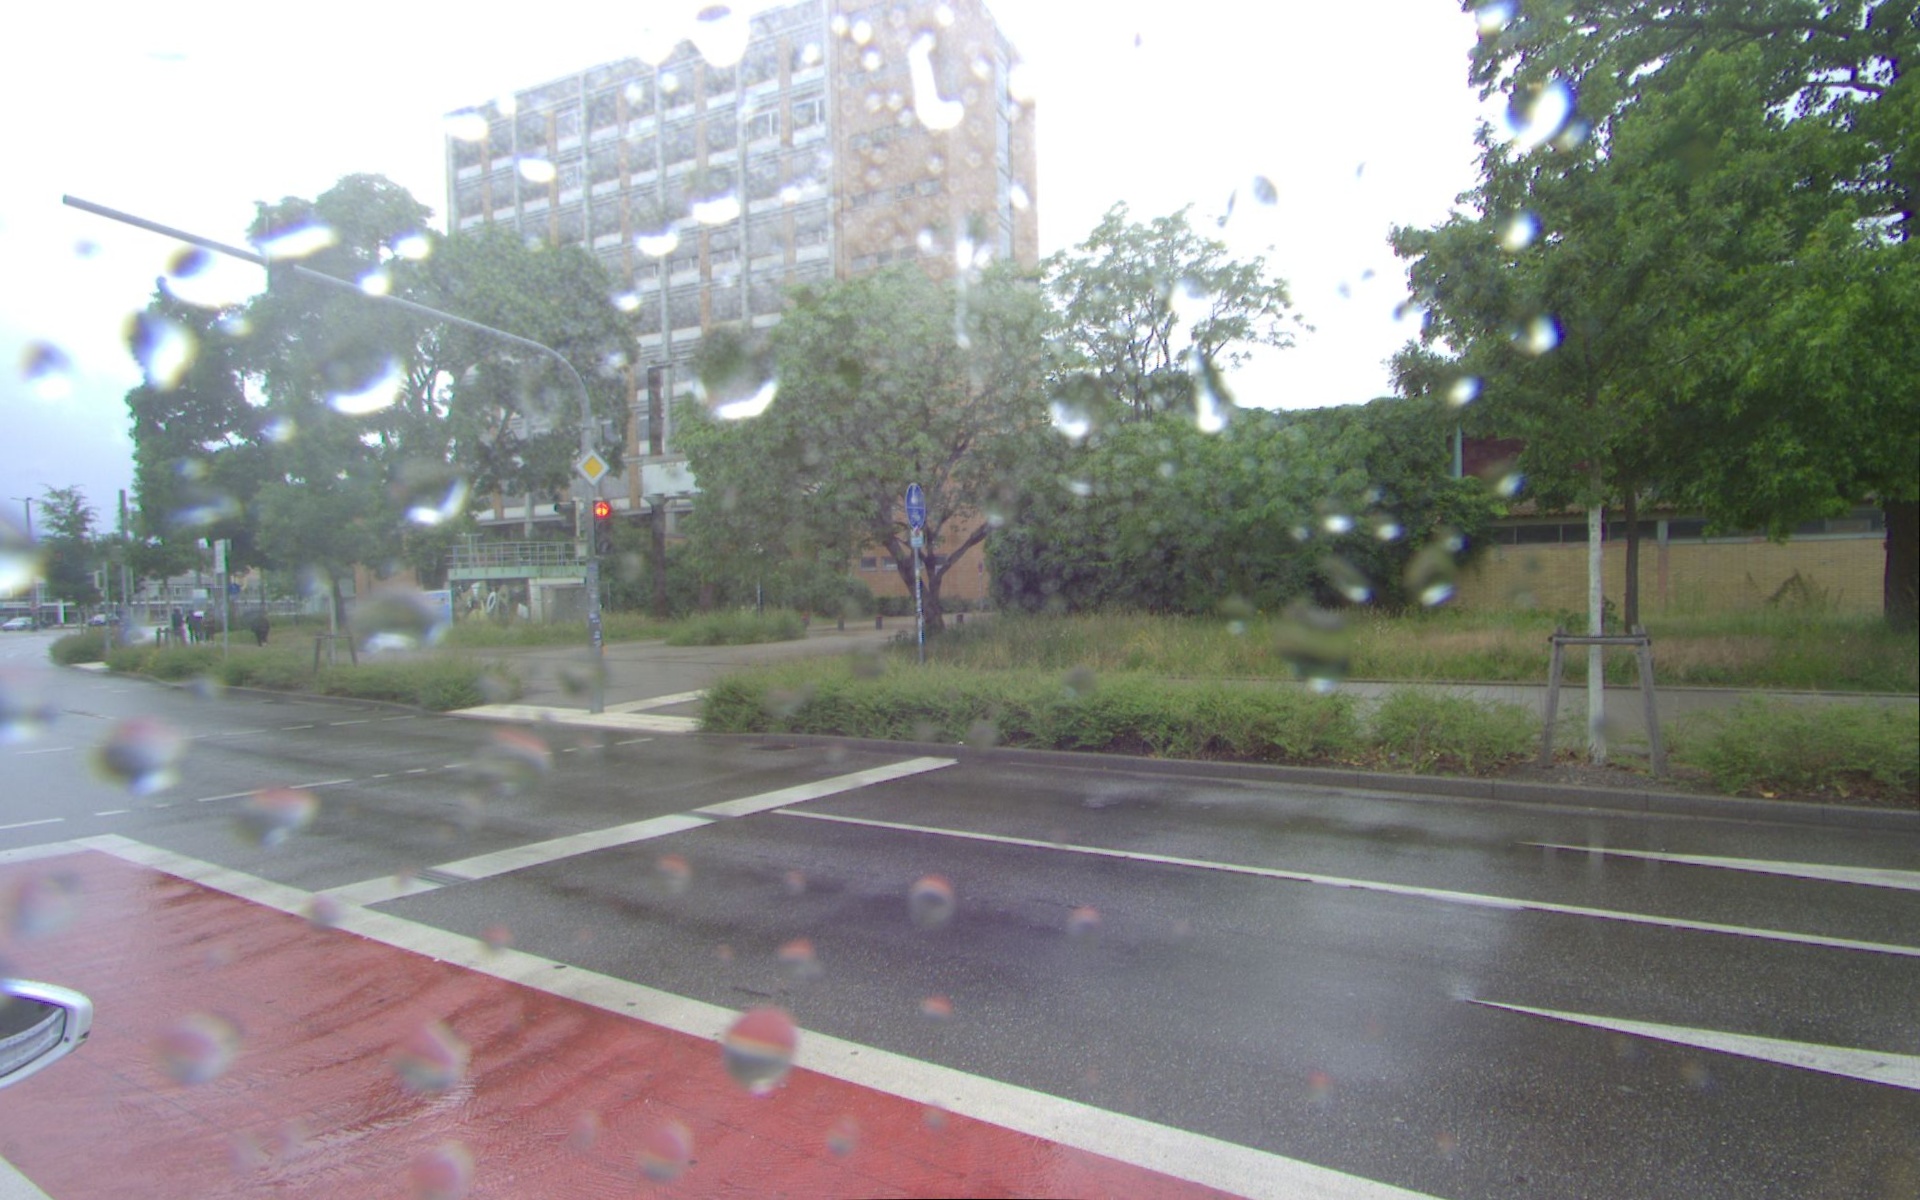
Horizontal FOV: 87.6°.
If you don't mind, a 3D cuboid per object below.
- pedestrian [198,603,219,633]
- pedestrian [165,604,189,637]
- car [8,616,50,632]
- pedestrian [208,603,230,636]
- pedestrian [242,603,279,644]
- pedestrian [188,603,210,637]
[{"bbox_3d":[-40.576,0.977,54.073,0.926,1.609,0.699,0,1,43],"label":"pedestrian"},{"bbox_3d":[-38.486,1.002,49.240,0.926,1.609,0.749,0,1,42],"label":"pedestrian"},{"bbox_3d":[-105.621,2.685,113.660,1.763,1.665,4.152,-1,0,-15],"label":"car"},{"bbox_3d":[-36.940,0.969,49.919,0.926,1.609,0.699,0,1,43],"label":"pedestrian"},{"bbox_3d":[-27.895,0.926,39.943,0.926,1.609,1.017,0,1,42],"label":"pedestrian"},{"bbox_3d":[-37.640,0.984,49.533,0.926,1.609,0.699,0,1,43],"label":"pedestrian"}]
